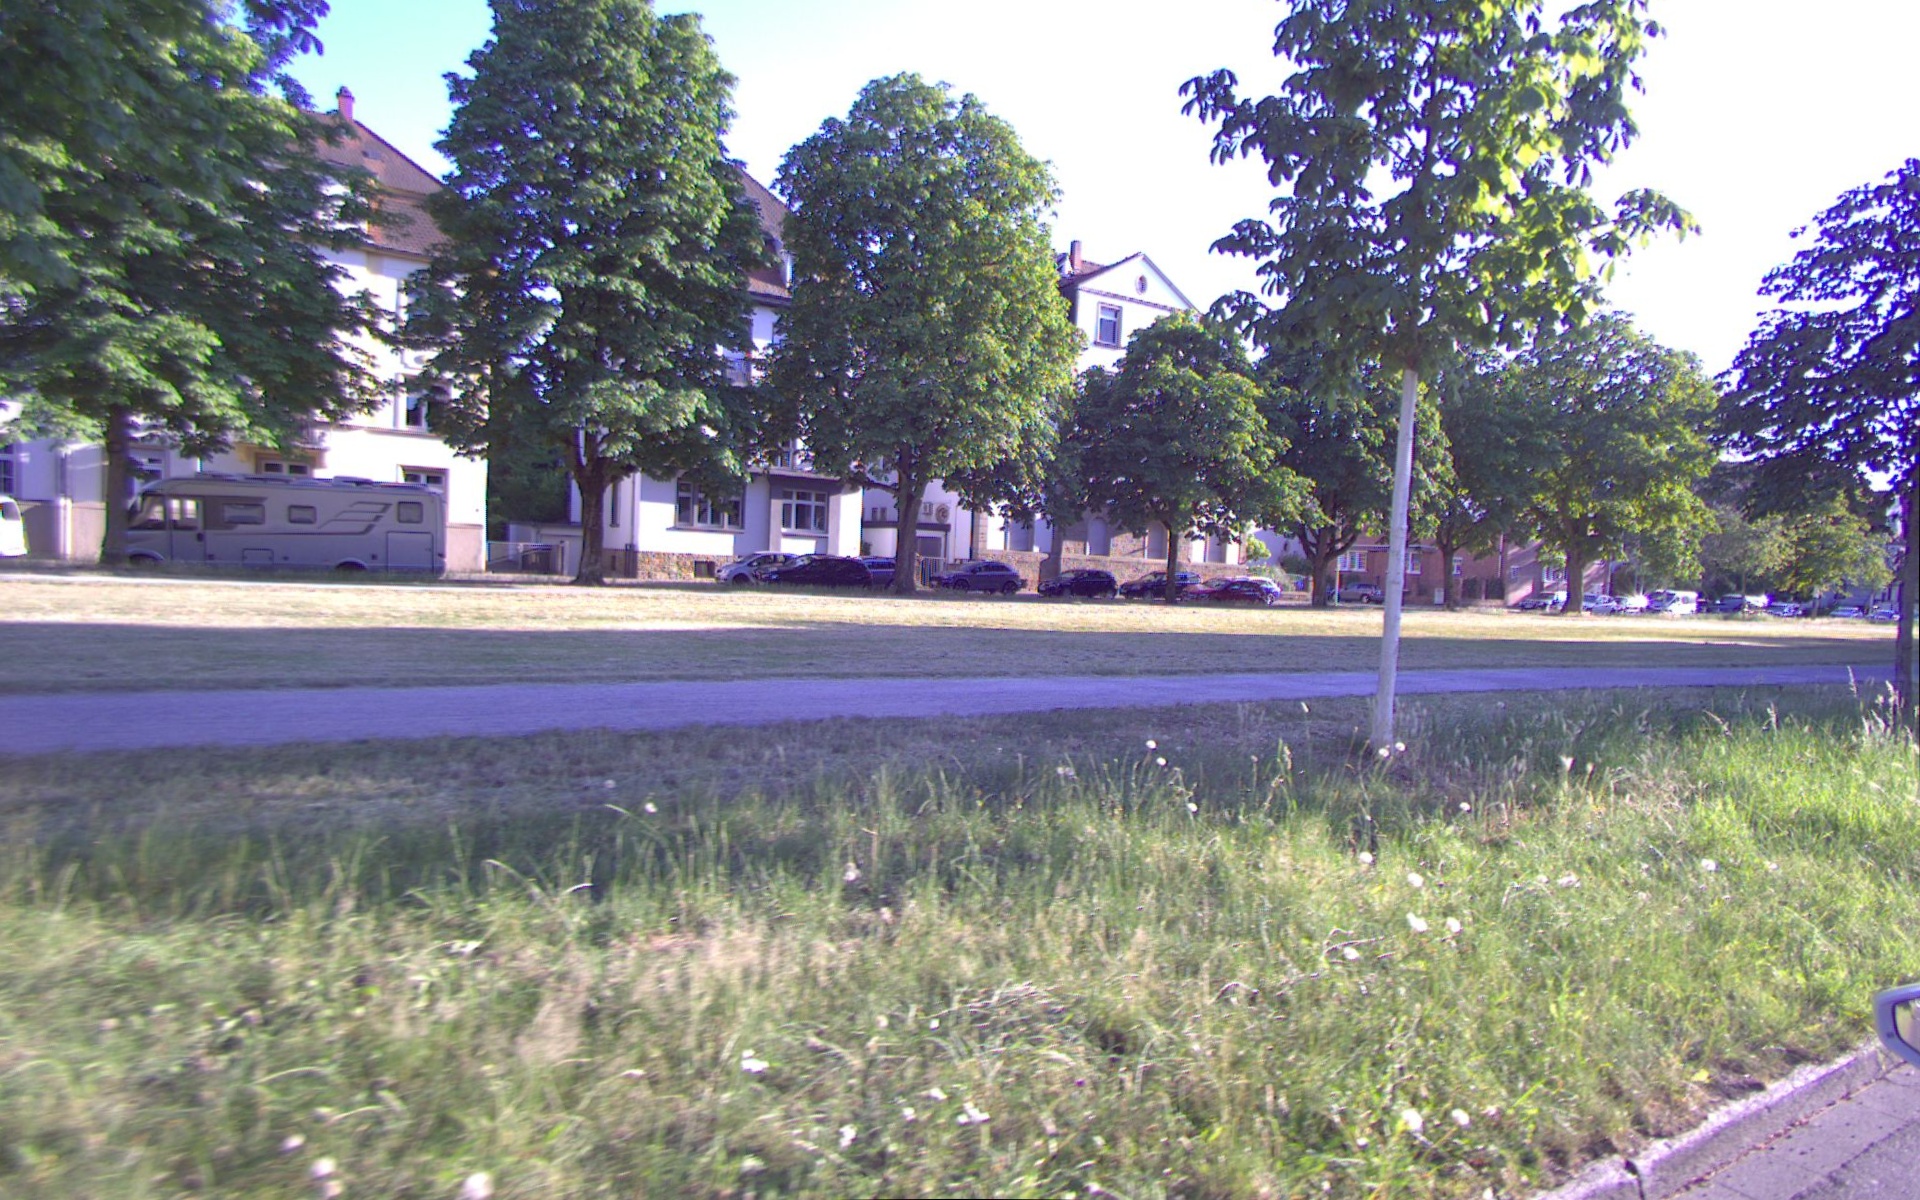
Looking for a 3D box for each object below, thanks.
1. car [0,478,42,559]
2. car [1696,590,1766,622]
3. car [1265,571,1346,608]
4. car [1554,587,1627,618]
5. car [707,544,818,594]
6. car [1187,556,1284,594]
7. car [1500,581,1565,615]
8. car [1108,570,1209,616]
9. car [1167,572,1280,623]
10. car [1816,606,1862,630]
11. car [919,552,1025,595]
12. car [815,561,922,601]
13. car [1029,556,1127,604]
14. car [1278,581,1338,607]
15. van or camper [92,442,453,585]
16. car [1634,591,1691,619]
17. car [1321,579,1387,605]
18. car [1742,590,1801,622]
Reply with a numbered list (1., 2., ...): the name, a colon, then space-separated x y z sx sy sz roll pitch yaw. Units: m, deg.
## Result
1. car: -29.227 -2.435 28.100 4.816 2.232 1.985 2 3 -29
2. car: 54.623 0.424 71.141 5.183 1.967 1.984 2 3 -30
3. car: 23.322 -0.753 67.918 1.986 1.621 4.832 23 -7 -28
4. car: 38.518 0.180 61.371 4.597 1.661 1.810 2 3 -31
5. car: -7.970 -1.254 40.568 3.951 1.758 1.985 2 3 -29
6. car: 14.868 -1.354 54.176 4.946 1.773 1.985 2 3 -29
7. car: 38.406 -0.105 67.415 4.317 2.041 1.748 2 3 -30
8. car: 10.179 -0.338 51.362 4.816 2.041 1.985 2 3 -29
9. car: 12.041 -0.089 45.835 4.816 2.041 1.985 2 3 -29
10. car: 82.717 1.694 94.505 3.953 2.040 2.022 3 0 -30
11. car: 0.551 -1.193 45.561 4.380 1.674 1.982 2 3 -32
12. car: -3.944 -0.806 43.210 4.118 1.448 1.985 2 3 -29
13. car: 5.730 -0.979 48.780 4.380 2.041 1.982 2 3 -32
14. car: 25.867 -0.460 74.800 1.814 1.595 3.877 2 3 -30
15. van or camper: -18.547 -2.233 27.859 7.804 3.152 3.238 2 3 -30
16. car: 54.114 0.377 77.328 4.356 1.862 1.808 2 3 -30
17. car: 27.831 -0.555 71.043 1.842 1.506 3.969 2 3 -29
18. car: 60.578 0.443 74.953 3.953 2.041 1.984 2 3 -30
